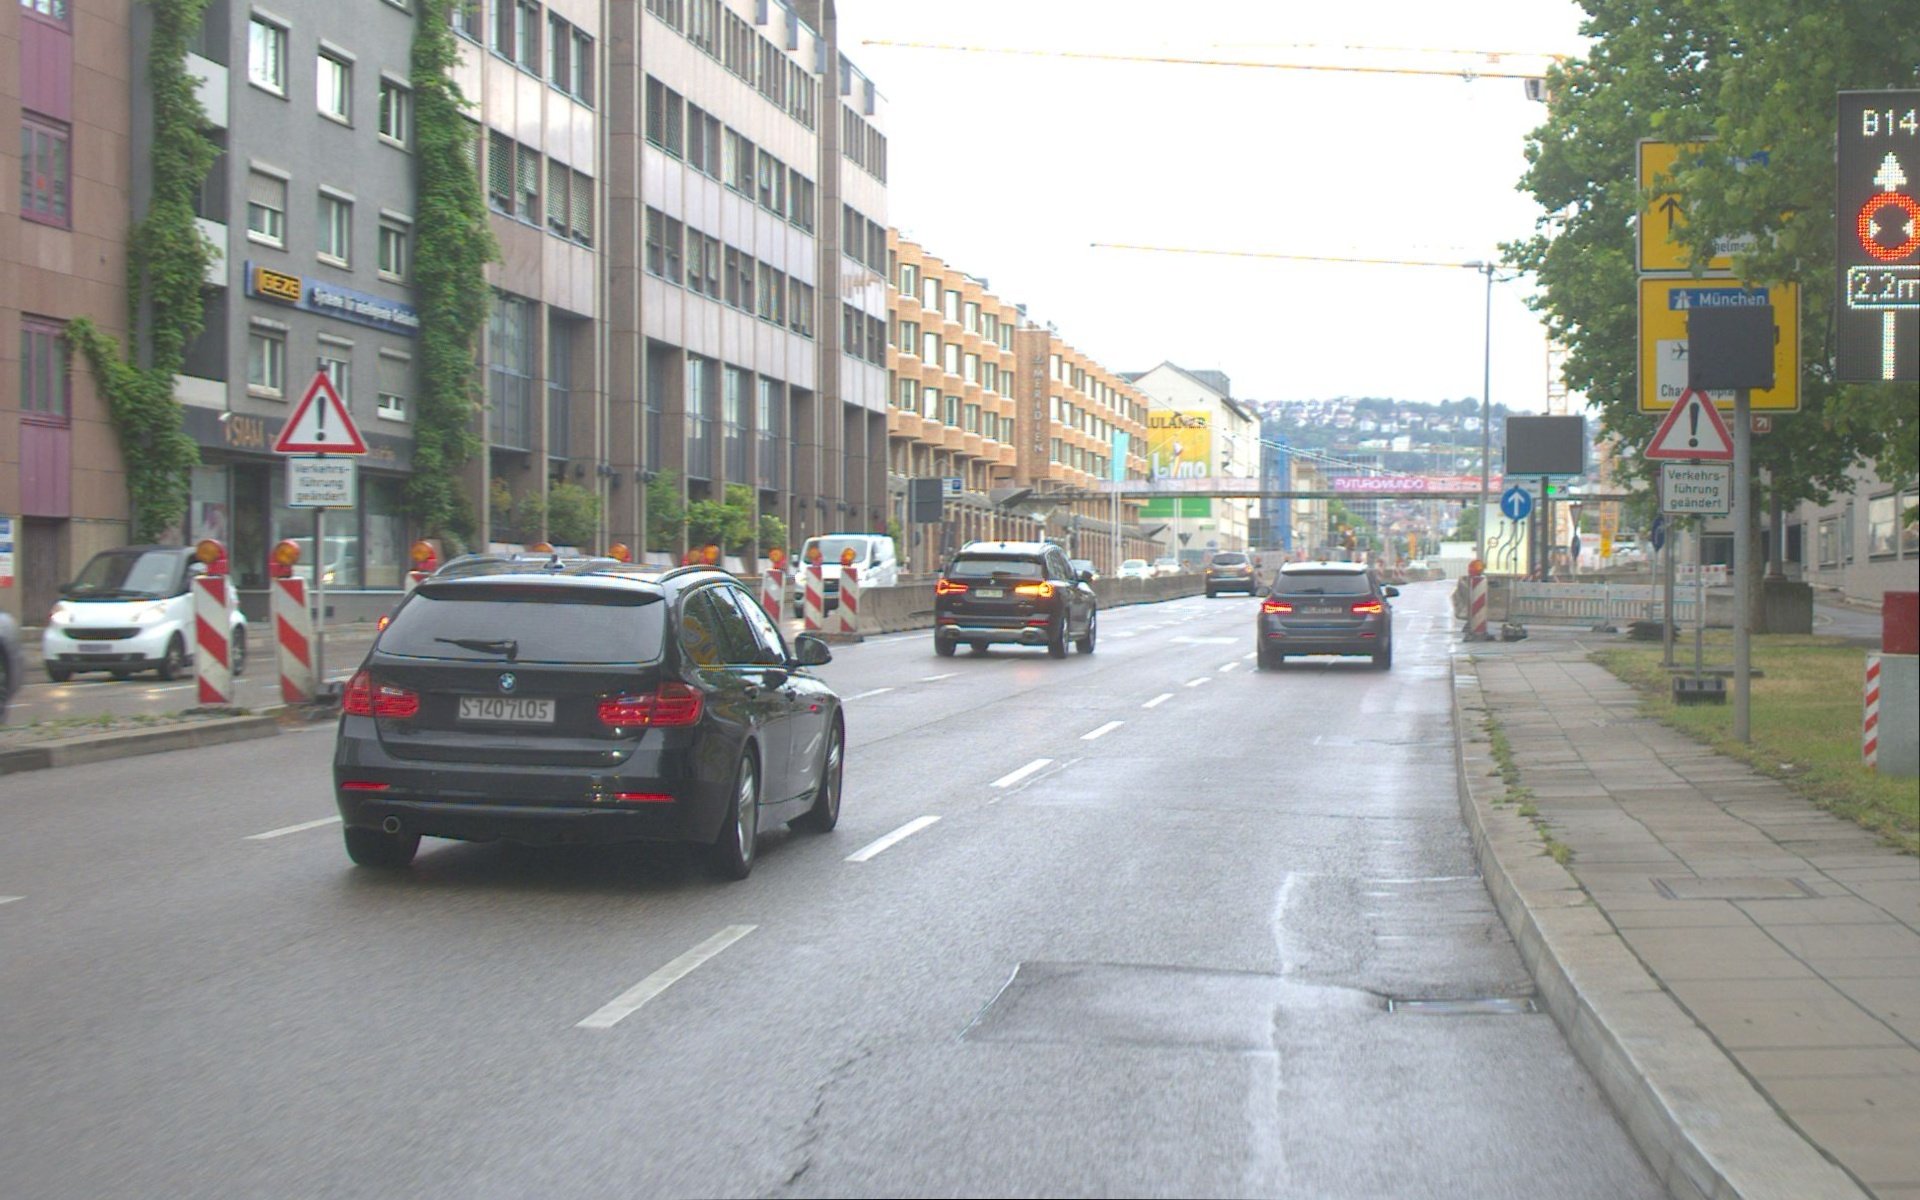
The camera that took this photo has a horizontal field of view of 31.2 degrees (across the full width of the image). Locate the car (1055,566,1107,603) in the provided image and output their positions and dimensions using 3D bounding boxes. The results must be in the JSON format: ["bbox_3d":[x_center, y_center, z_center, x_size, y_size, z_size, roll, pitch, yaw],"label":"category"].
[{"bbox_3d":[5.155,-0.668,146.218,1.861,1.528,4.229,0,0,7],"label":"car"}]

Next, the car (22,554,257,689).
[{"bbox_3d":[-9.359,0.238,39.395,1.556,1.479,2.948,0,0,10],"label":"car"}]

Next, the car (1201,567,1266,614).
[{"bbox_3d":[9.939,-0.350,124.857,1.901,1.687,3.998,0,0,11],"label":"car"}]

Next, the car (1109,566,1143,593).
[{"bbox_3d":[9.448,-1.155,195.470,1.603,1.437,3.656,0,2,8],"label":"car"}]

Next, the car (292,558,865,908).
[{"bbox_3d":[-1.676,0.526,16.766,1.792,1.421,4.612,1,1,6],"label":"car"}]

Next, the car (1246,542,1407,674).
[{"bbox_3d":[5.091,0.089,47.369,1.901,1.687,3.998,2,1,10],"label":"car"}]

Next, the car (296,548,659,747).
[{"bbox_3d":[-3.667,0.329,26.895,1.791,1.422,4.383,0,0,6],"label":"car"}]

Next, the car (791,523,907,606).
[{"bbox_3d":[-2.697,-0.868,84.840,1.994,1.983,5.287,0,0,8],"label":"car"}]

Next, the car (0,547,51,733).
[{"bbox_3d":[-8.558,0.343,25.155,1.994,1.433,4.936,-1,1,7],"label":"car"}]

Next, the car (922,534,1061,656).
[{"bbox_3d":[0.417,-0.082,49.897,1.900,1.687,4.000,0,0,-1],"label":"car"}]
